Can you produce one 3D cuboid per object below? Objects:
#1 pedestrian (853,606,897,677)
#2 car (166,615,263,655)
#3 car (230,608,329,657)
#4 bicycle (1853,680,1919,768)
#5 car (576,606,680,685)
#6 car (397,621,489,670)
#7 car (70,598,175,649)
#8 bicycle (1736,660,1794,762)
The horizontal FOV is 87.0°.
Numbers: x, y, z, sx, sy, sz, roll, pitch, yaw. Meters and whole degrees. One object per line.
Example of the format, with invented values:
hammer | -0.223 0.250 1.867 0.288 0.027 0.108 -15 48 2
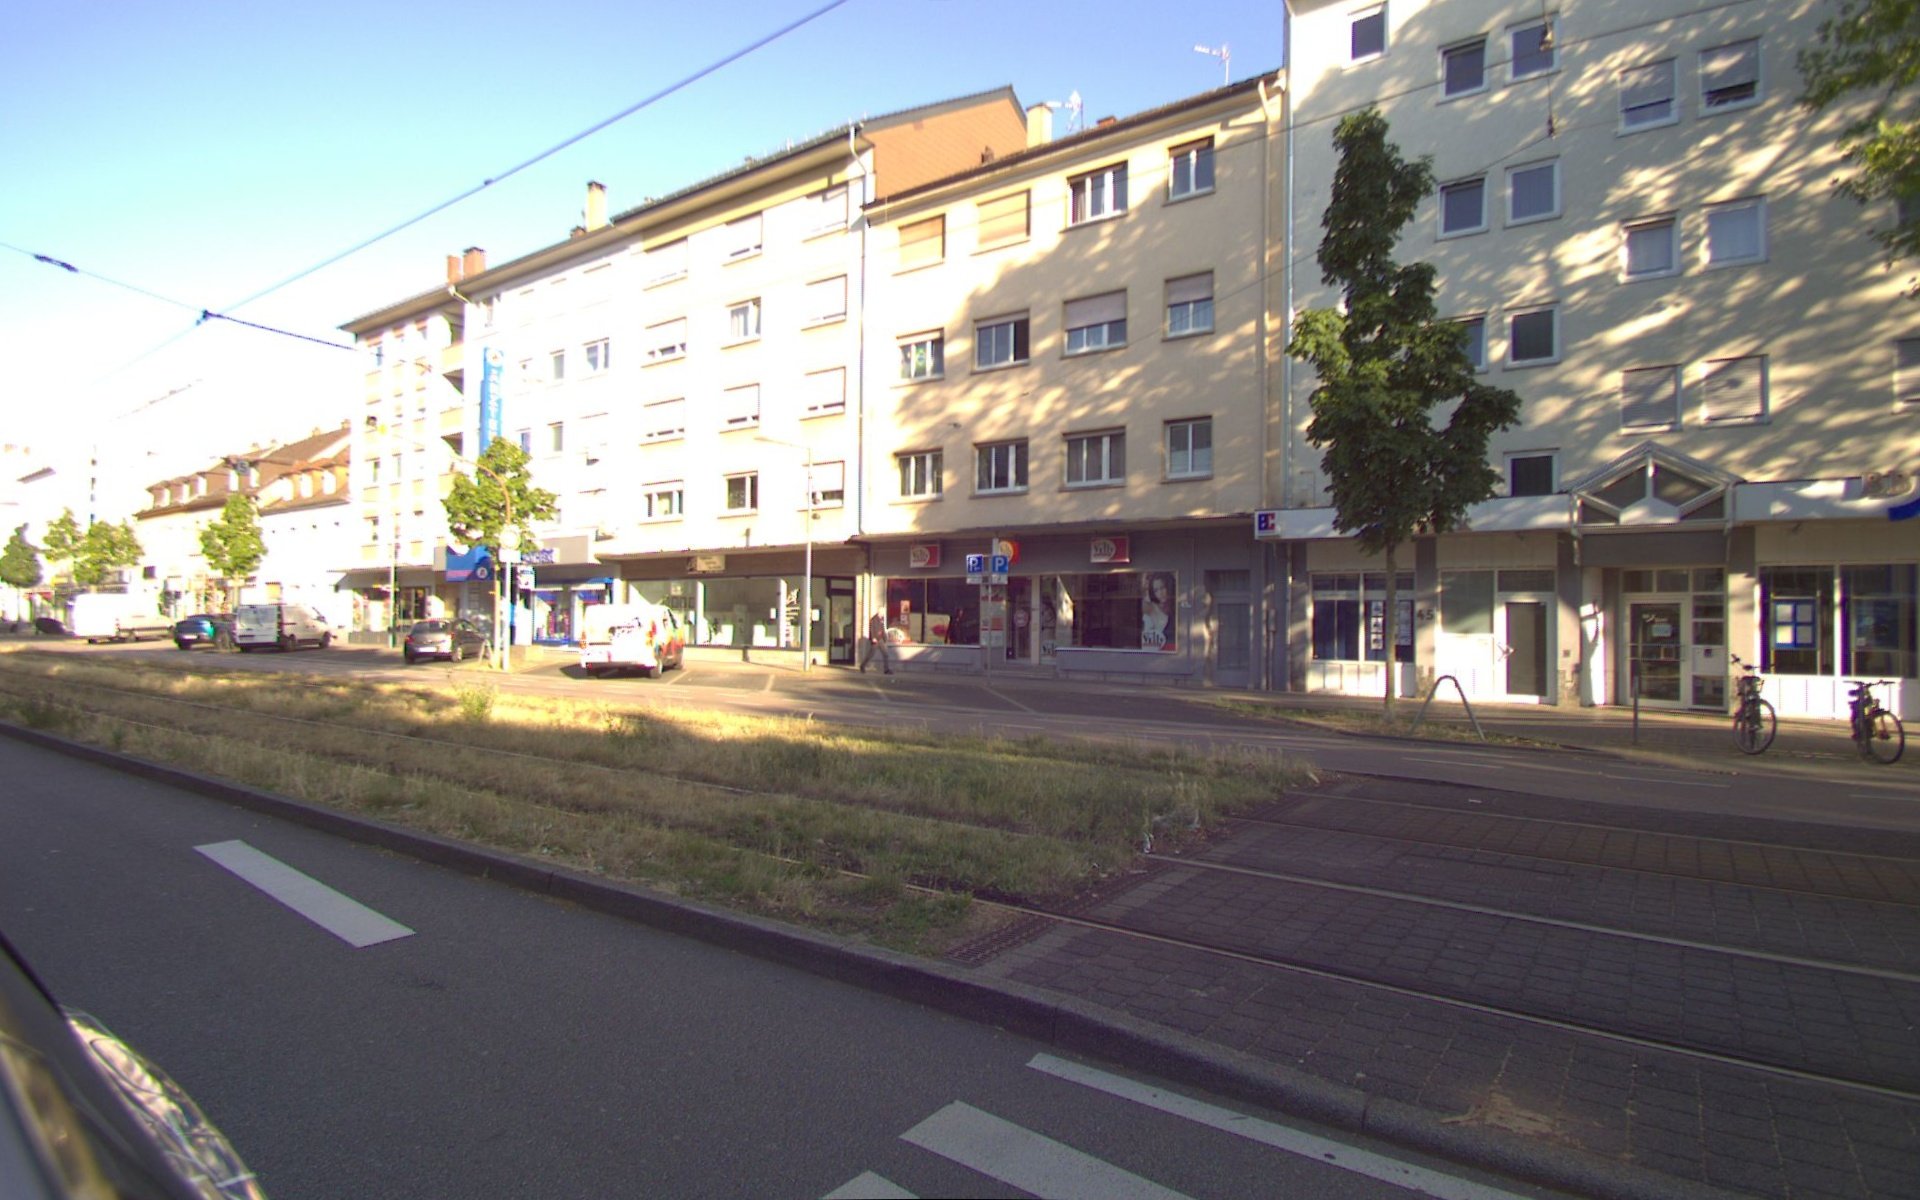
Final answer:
pedestrian | -2.270 1.096 26.957 0.916 1.841 0.747 -1 -1 41
car | -34.170 1.556 46.528 1.830 1.727 3.919 0 0 -4
car | -28.642 1.303 42.759 1.828 1.952 4.514 0 0 -10
bicycle | 11.335 1.483 12.359 0.471 0.895 1.724 -1 -1 36
car | -8.781 1.147 27.122 1.830 1.913 4.005 0 0 -6
car | -17.455 1.498 34.341 1.708 1.508 4.009 0 0 -10
car | -45.423 1.215 55.093 1.895 2.634 6.608 0 0 -16
bicycle | 10.300 1.381 12.981 0.511 1.147 1.724 -1 -1 36
